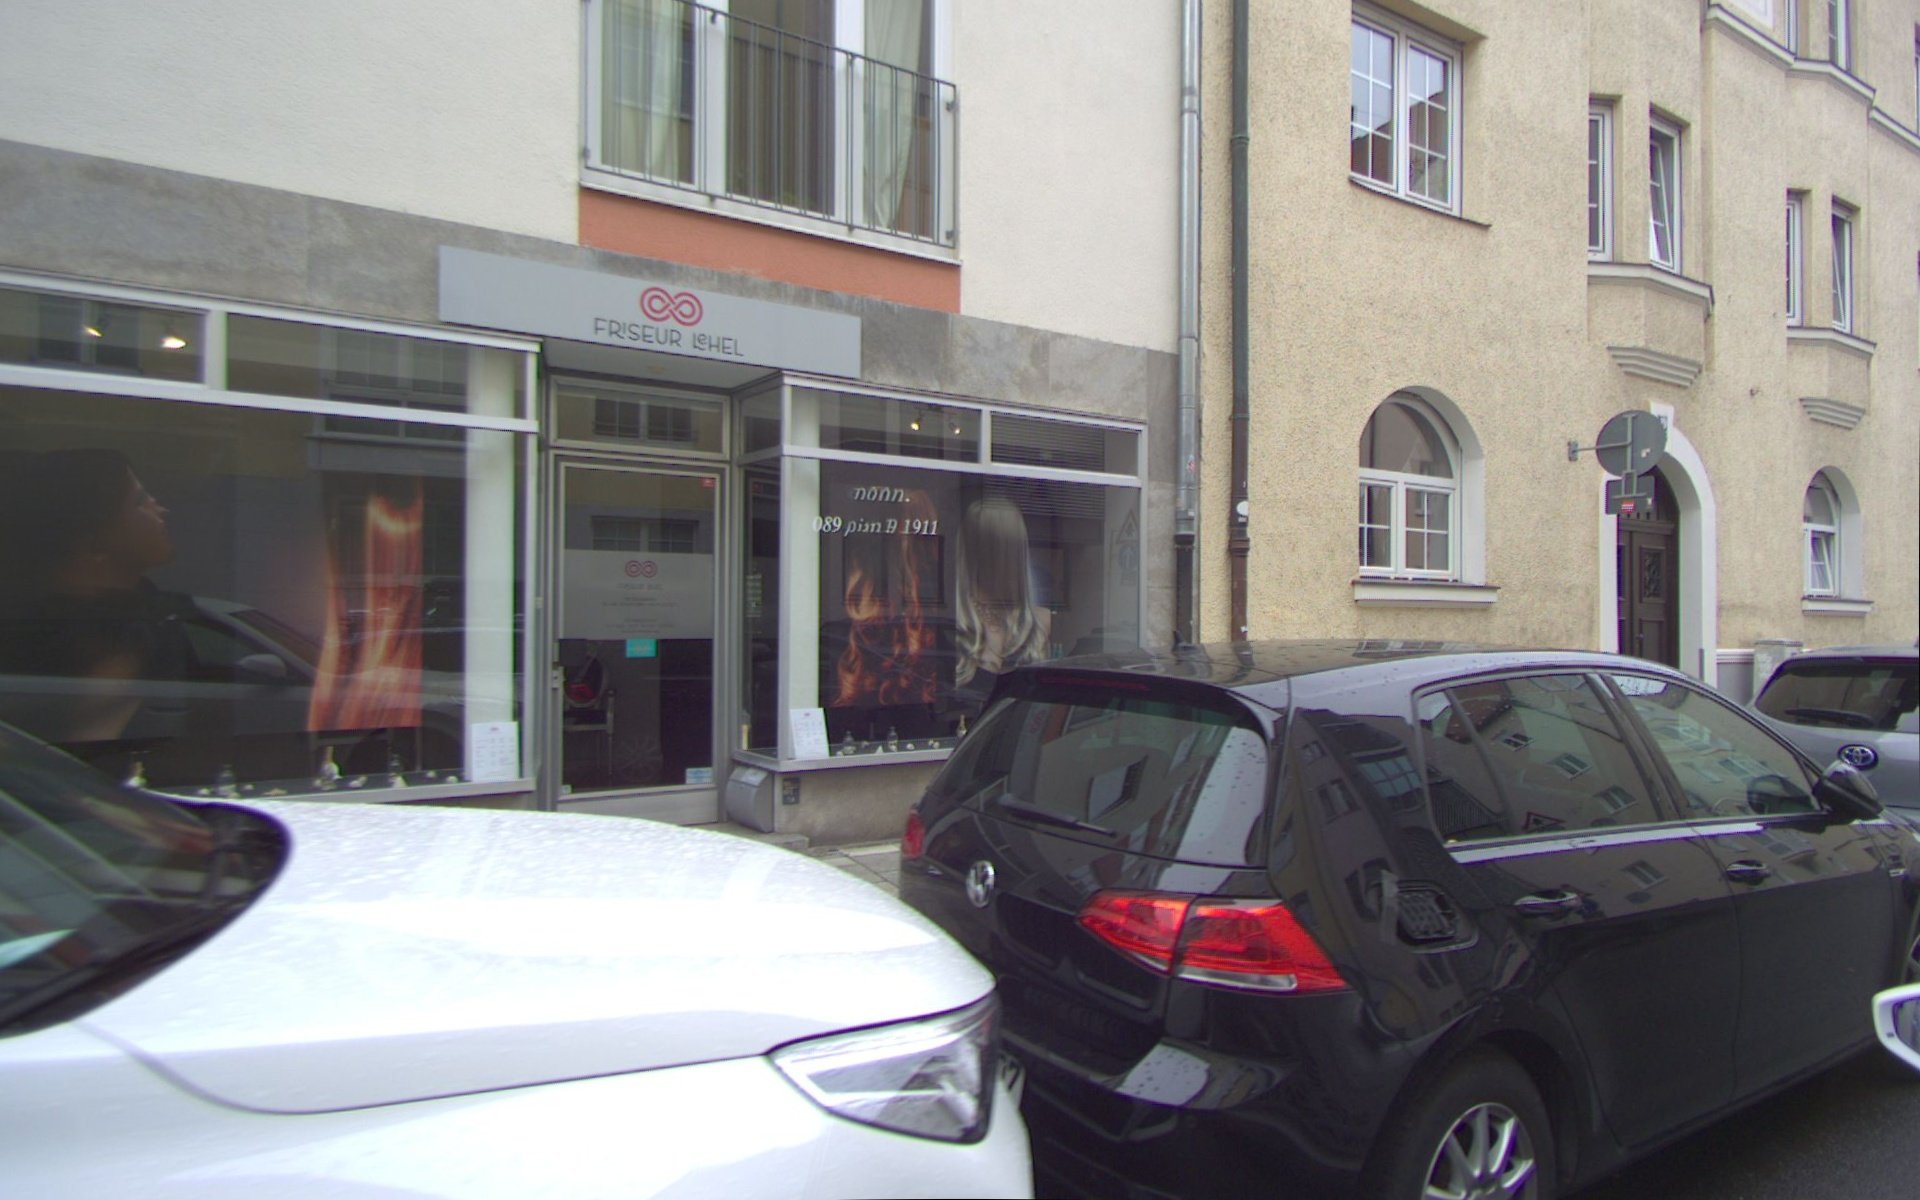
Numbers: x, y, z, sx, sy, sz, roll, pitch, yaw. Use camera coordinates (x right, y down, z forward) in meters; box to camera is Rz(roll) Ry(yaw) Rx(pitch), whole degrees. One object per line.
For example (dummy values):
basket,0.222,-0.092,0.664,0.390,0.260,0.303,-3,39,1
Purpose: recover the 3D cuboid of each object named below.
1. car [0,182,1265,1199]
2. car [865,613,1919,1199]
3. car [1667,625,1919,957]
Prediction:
car,-1.833,0.548,0.949,4.263,1.626,1.771,1,-3,-34
car,1.752,0.835,3.258,3.797,1.494,1.620,1,-3,-31
car,6.019,0.946,5.724,4.063,1.494,1.665,2,-4,-30
